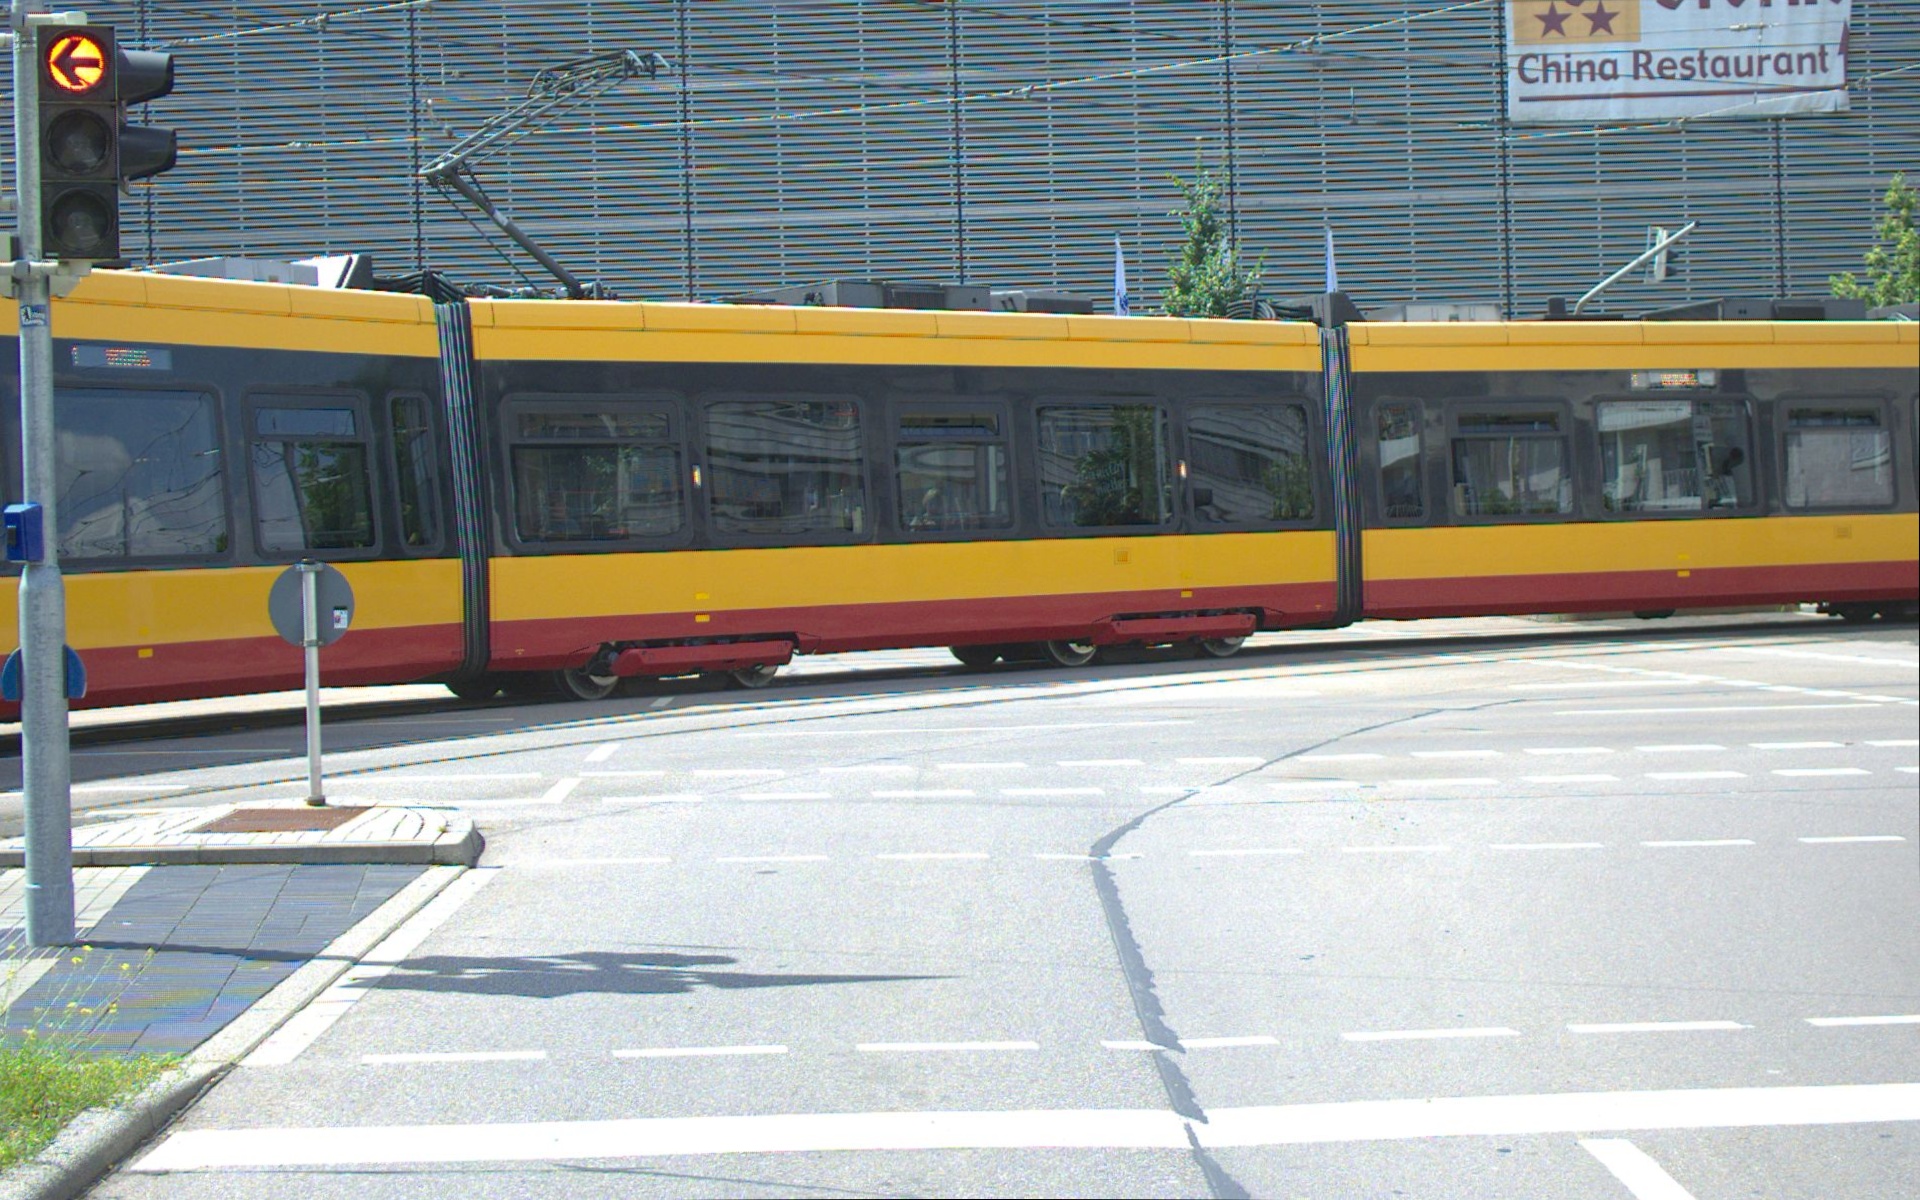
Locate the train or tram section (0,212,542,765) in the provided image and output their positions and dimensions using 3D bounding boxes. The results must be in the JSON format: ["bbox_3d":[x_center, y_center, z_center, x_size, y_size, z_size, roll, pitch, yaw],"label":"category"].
[{"bbox_3d":[-7.861,-0.720,22.627,3.221,3.587,13.482,0,2,27],"label":"train or tram section"}]

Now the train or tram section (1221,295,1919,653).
[{"bbox_3d":[9.244,-1.414,38.515,12.591,3.608,3.066,-1,2,-23],"label":"train or tram section"}]

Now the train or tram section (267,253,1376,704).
[{"bbox_3d":[-0.871,-1.119,32.178,10.963,3.590,3.064,-2,2,-42],"label":"train or tram section"}]
